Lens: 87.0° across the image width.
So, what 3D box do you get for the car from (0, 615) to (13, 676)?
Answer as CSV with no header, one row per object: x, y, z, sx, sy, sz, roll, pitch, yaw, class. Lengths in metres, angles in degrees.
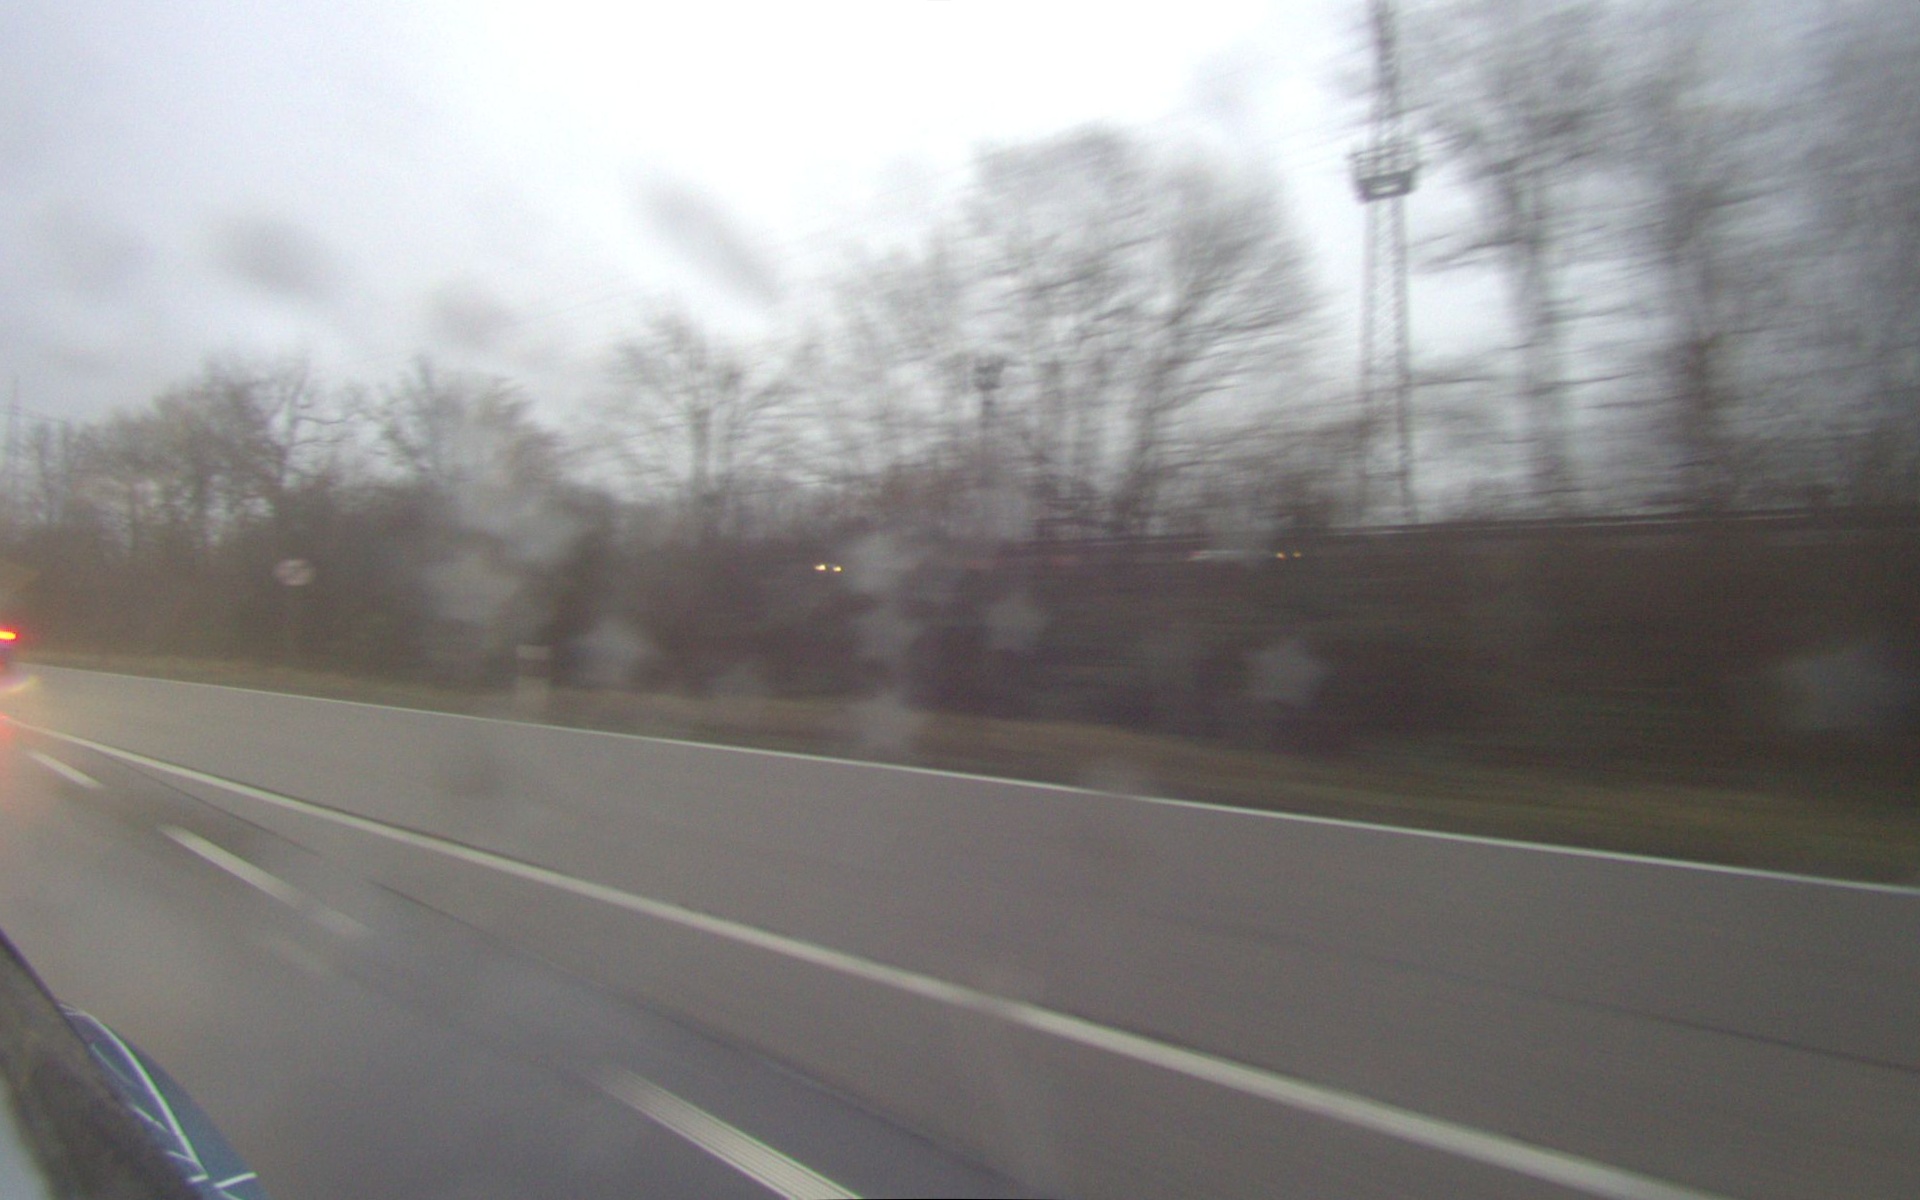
-25.779,1.171,25.777,4.095,1.508,1.748,-1,-1,37,car

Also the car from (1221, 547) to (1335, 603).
12.491,-0.972,39.813,3.982,2.029,1.868,-1,1,28,car

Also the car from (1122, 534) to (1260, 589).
7.352,-1.193,32.307,3.932,1.646,1.770,0,1,34,car

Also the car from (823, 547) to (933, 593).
-3.130,-1.107,38.334,3.932,1.646,1.770,0,1,34,car
